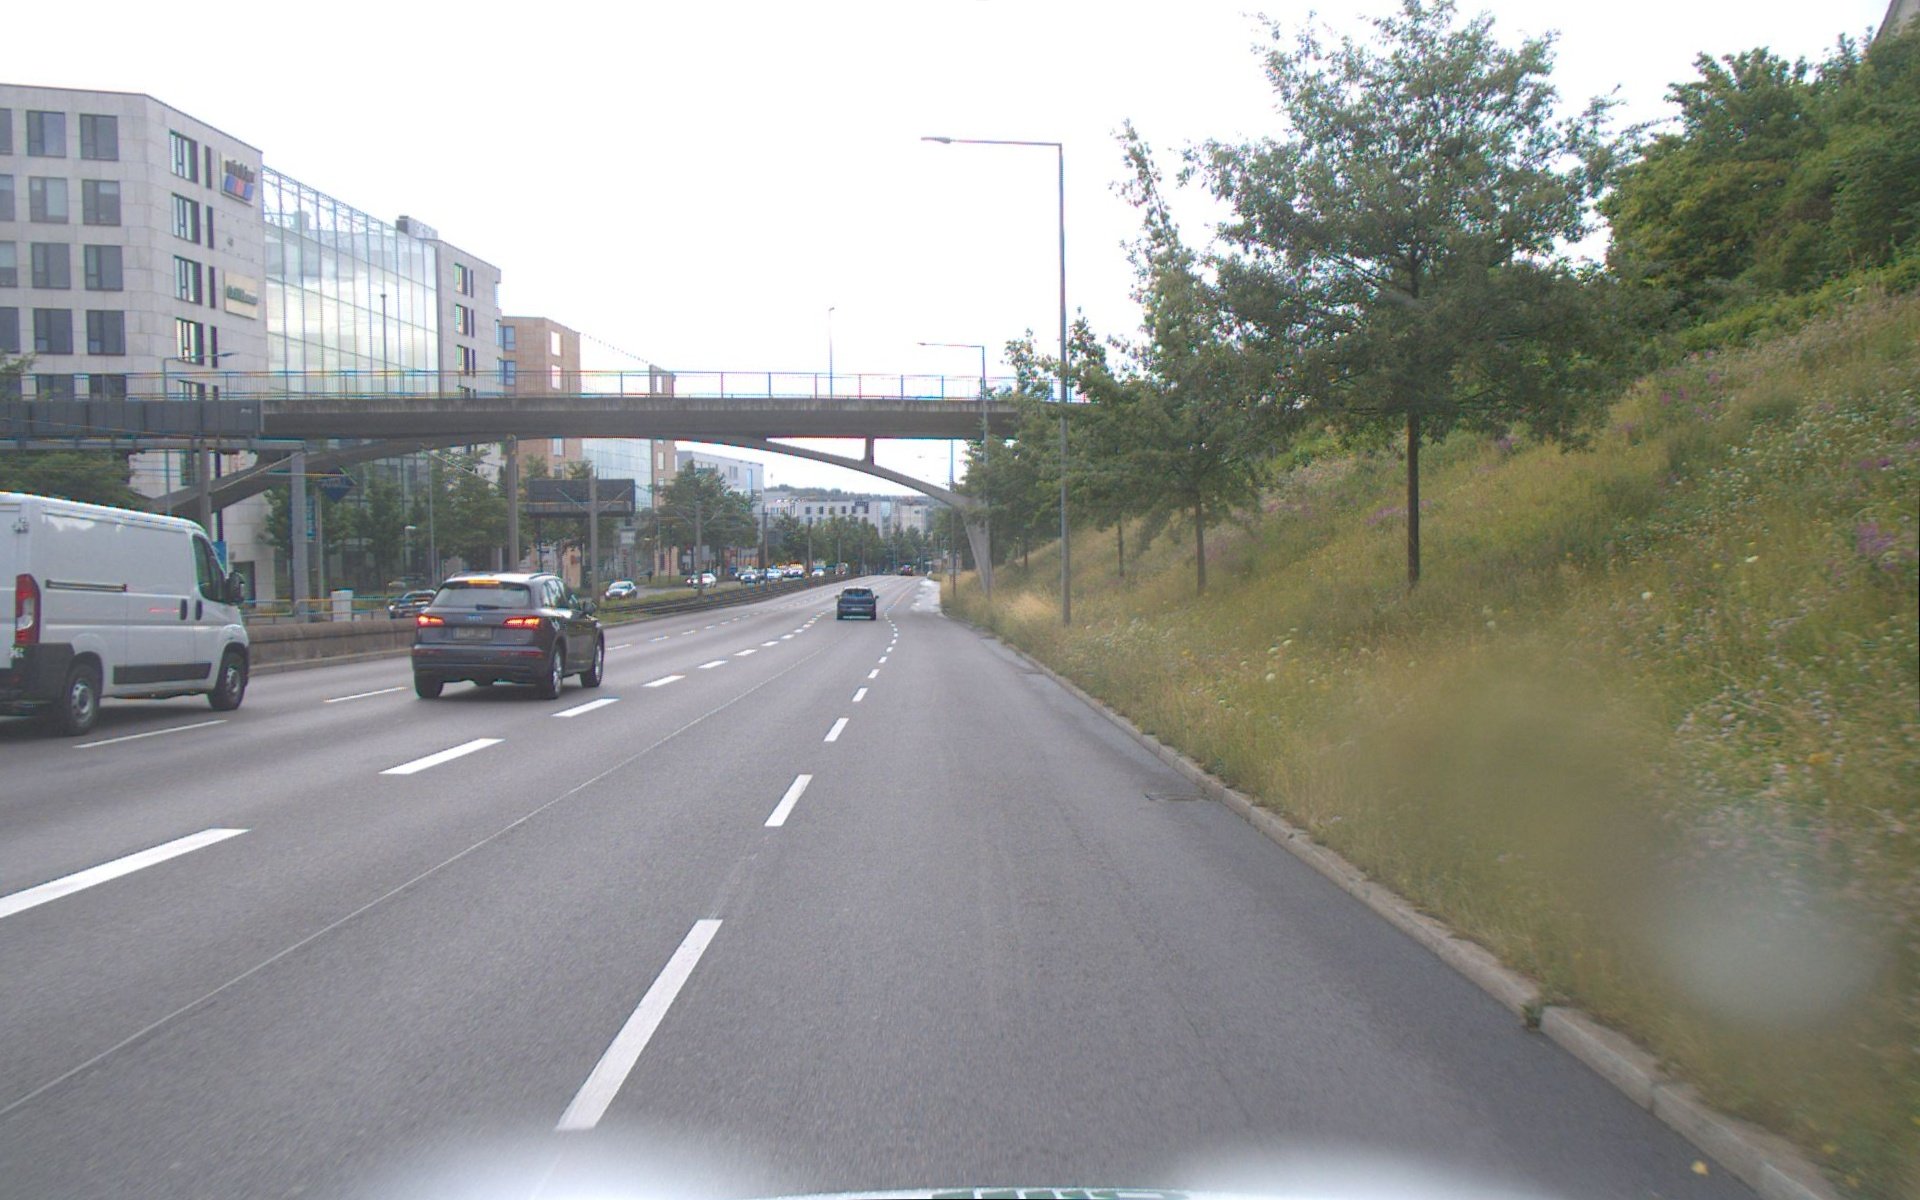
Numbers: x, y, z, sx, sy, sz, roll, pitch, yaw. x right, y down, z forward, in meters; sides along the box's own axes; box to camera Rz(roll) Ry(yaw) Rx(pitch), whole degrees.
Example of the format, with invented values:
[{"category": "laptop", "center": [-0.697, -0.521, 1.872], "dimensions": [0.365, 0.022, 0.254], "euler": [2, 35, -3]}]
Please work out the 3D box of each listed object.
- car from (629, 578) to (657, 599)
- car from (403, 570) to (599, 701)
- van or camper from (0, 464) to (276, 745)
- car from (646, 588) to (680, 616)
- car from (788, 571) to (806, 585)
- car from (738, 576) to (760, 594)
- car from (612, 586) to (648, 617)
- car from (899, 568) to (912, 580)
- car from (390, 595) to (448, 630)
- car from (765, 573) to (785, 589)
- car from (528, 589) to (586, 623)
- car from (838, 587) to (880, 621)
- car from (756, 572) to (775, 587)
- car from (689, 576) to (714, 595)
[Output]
[{"category": "car", "center": [-31.478, -1.141, 164.295], "dimensions": [1.953, 2.049, 4.000], "euler": [0, 0, 0]}, {"category": "car", "center": [-6.314, 0.442, 23.258], "dimensions": [1.716, 1.645, 4.745], "euler": [0, 0, -4]}, {"category": "van or camper", "center": [-9.295, 0.025, 17.321], "dimensions": [2.159, 2.481, 5.529], "euler": [0, 0, -2]}, {"category": "car", "center": [-21.488, 0.145, 119.747], "dimensions": [1.954, 1.735, 3.999], "euler": [1, 3, -3]}, {"category": "car", "center": [-22.325, -3.027, 226.876], "dimensions": [1.953, 1.765, 4.249], "euler": [2, 3, 0]}, {"category": "car", "center": [-23.261, -1.661, 182.645], "dimensions": [1.953, 2.049, 4.000], "euler": [0, 0, 0]}, {"category": "car", "center": [-23.868, 0.088, 119.734], "dimensions": [1.954, 2.048, 3.999], "euler": [1, 3, -3]}, {"category": "car", "center": [-8.571, -4.070, 258.972], "dimensions": [1.826, 1.780, 3.998], "euler": [1, 3, -5]}, {"category": "car", "center": [-23.712, 0.550, 72.608], "dimensions": [1.487, 1.445, 3.477], "euler": [0, 1, -1]}, {"category": "car", "center": [-22.806, -2.344, 204.017], "dimensions": [1.953, 1.765, 4.249], "euler": [2, 3, 0]}, {"category": "car", "center": [-17.374, 0.242, 71.356], "dimensions": [1.713, 1.445, 3.477], "euler": [0, 0, -1]}, {"category": "car", "center": [-4.495, 0.159, 74.054], "dimensions": [1.713, 1.445, 3.477], "euler": [0, 1, -1]}, {"category": "car", "center": [-25.728, -2.765, 218.458], "dimensions": [1.953, 1.765, 4.249], "euler": [2, 3, 0]}, {"category": "car", "center": [-27.155, -1.506, 174.005], "dimensions": [1.953, 1.765, 4.249], "euler": [2, 3, 0]}]
